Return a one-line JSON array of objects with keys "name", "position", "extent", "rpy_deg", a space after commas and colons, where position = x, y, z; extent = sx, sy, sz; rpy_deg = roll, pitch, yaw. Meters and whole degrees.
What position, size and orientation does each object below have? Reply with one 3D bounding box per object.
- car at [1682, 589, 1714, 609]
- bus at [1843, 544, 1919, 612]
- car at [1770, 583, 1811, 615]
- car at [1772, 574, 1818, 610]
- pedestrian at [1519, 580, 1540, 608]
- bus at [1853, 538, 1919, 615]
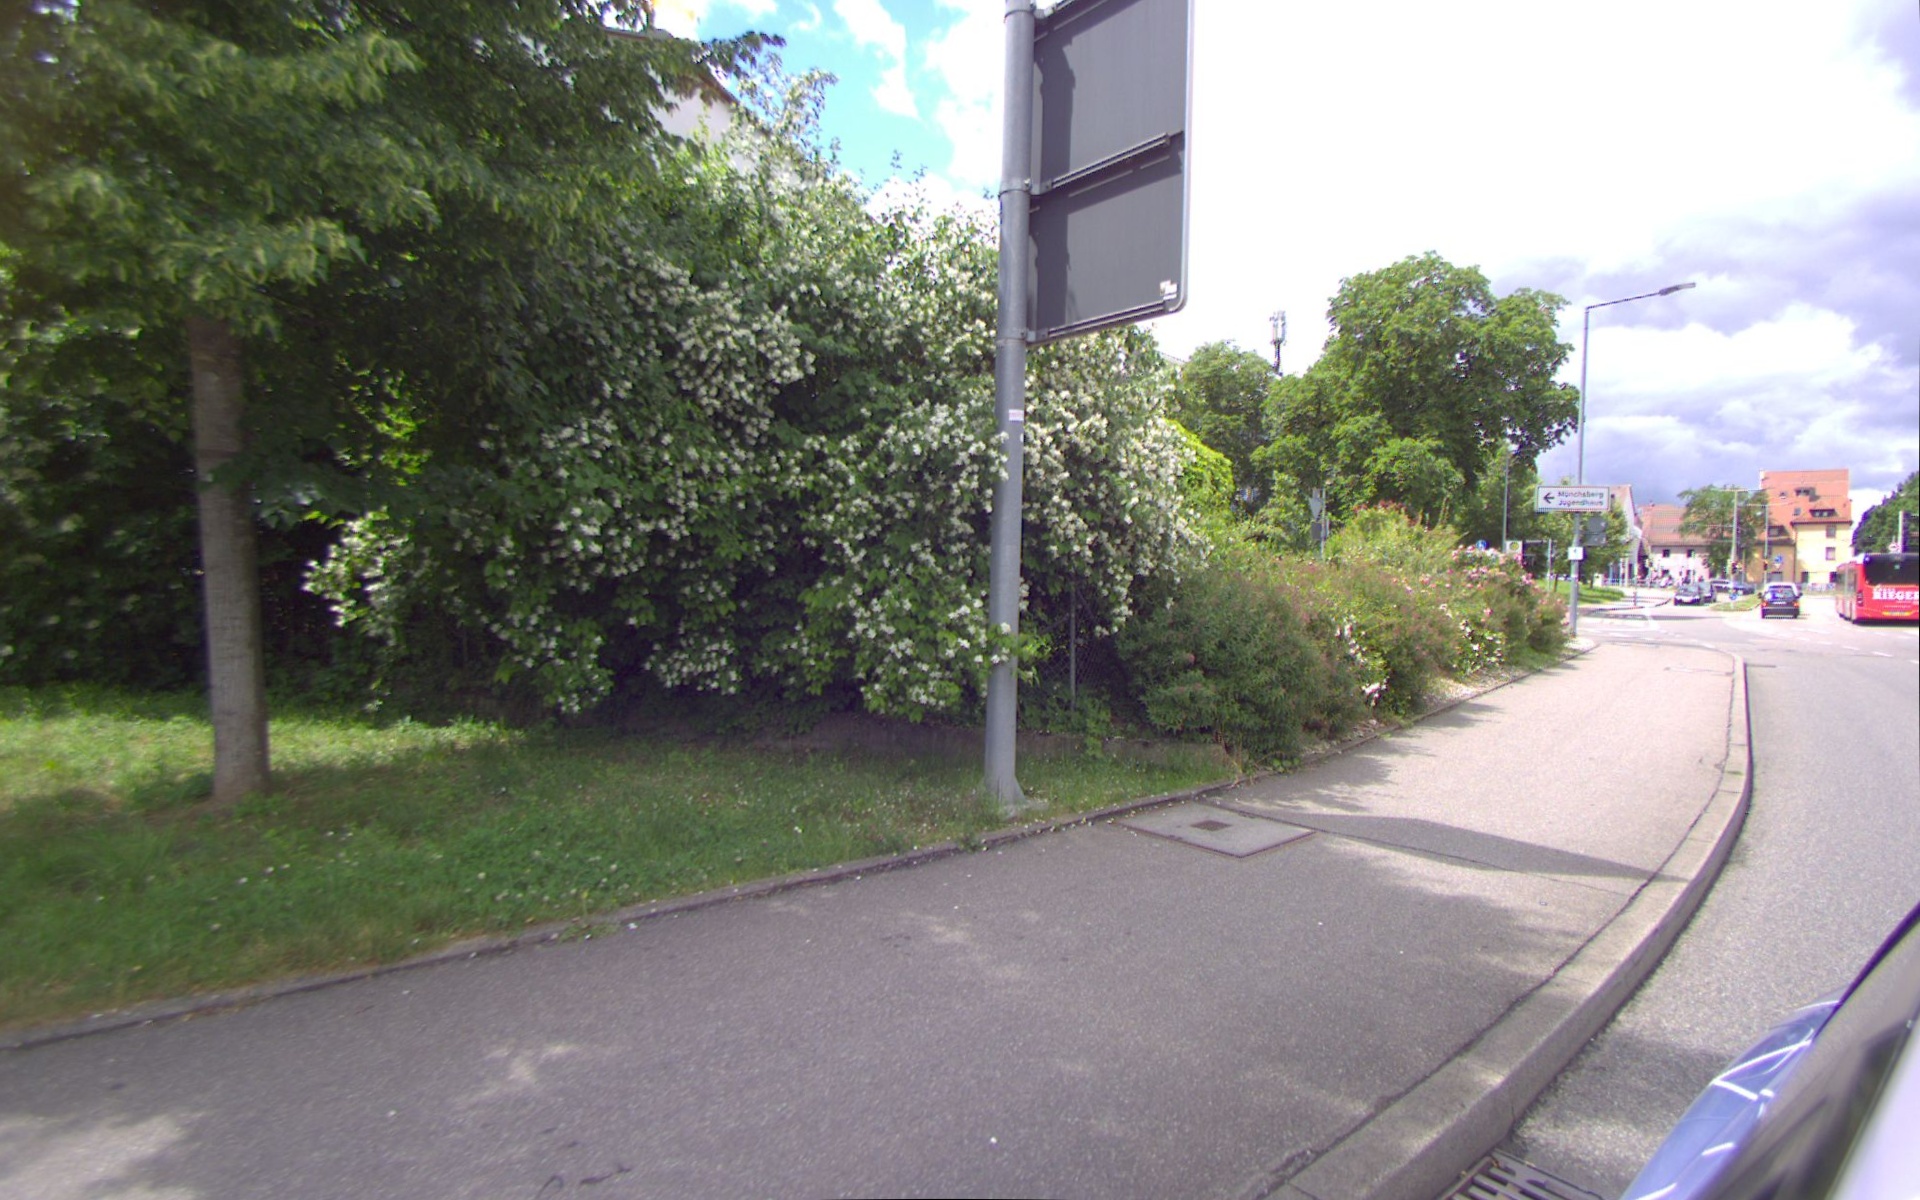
[{"name": "car", "position": [57.451, -0.076, 78.719], "extent": [1.874, 1.446, 3.945], "rpy_deg": [2, 0, 38]}, {"name": "bus", "position": [46.995, -1.097, 51.456], "extent": [2.722, 3.147, 9.565], "rpy_deg": [3, 2, 39]}, {"name": "car", "position": [42.962, -0.095, 52.313], "extent": [1.528, 1.570, 3.677], "rpy_deg": [0, 1, 41]}, {"name": "car", "position": [47.772, -0.425, 57.934], "extent": [1.758, 1.684, 4.444], "rpy_deg": [3, -1, 37]}, {"name": "pedestrian", "position": [30.720, -0.341, 54.624], "extent": [0.818, 1.442, 0.818], "rpy_deg": [2, 3, 40]}, {"name": "bus", "position": [41.182, -0.998, 44.334], "extent": [2.723, 3.107, 8.835], "rpy_deg": [3, 2, 39]}]
